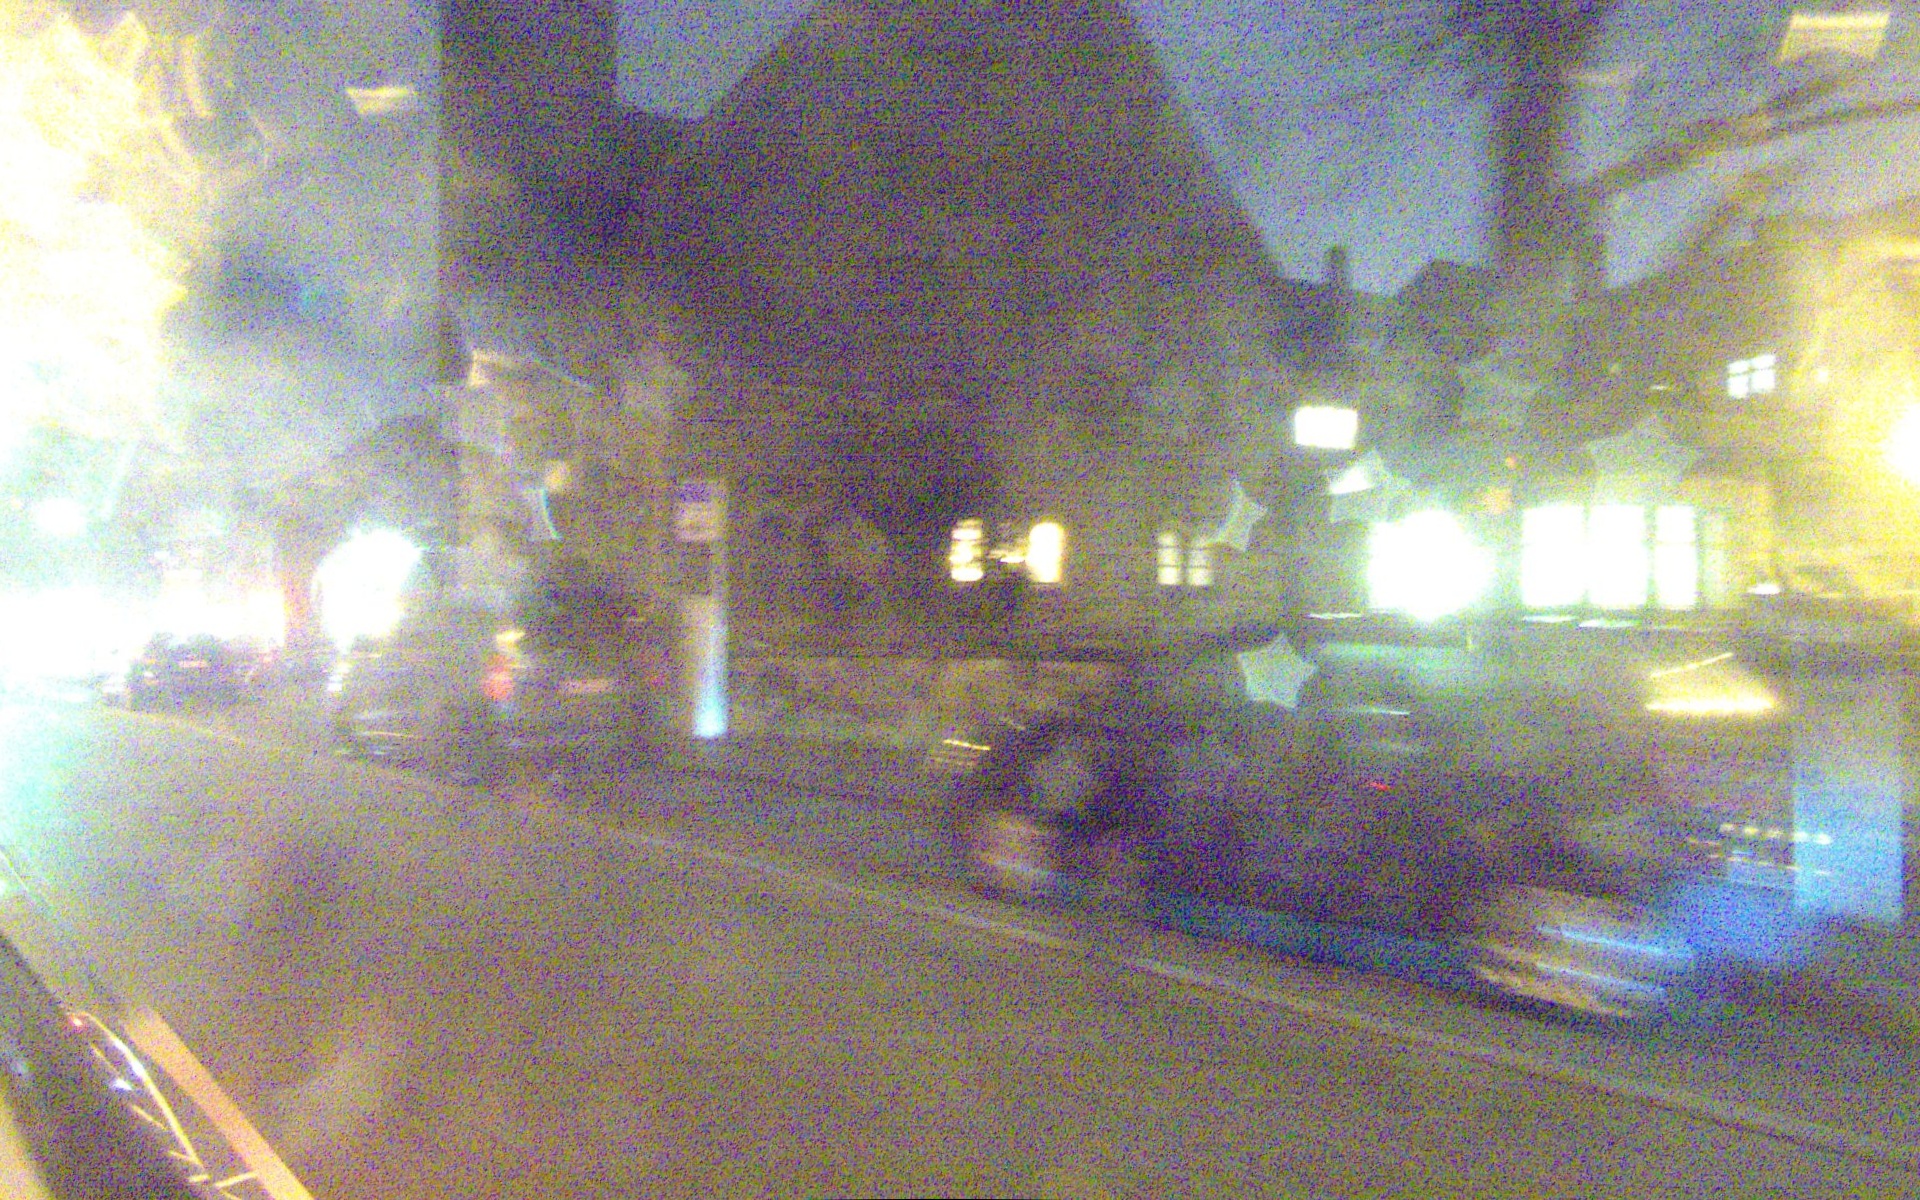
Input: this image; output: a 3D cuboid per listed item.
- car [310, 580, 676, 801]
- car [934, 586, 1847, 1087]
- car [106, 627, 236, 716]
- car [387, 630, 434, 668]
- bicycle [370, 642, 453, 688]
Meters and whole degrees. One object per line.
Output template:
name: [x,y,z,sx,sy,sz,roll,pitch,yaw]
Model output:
car: [-5.172,0.858,10.857,4.826,1.860,1.846,-2,-3,43]
car: [1.721,0.737,4.721,3.561,1.453,1.530,-2,-1,41]
car: [-16.770,1.447,21.433,1.790,1.683,4.415,1,-3,-43]
car: [-26.728,2.422,49.355,1.671,1.741,4.013,2,-4,-24]
bicycle: [-14.715,1.723,27.175,1.937,1.190,0.543,1,-3,-31]
